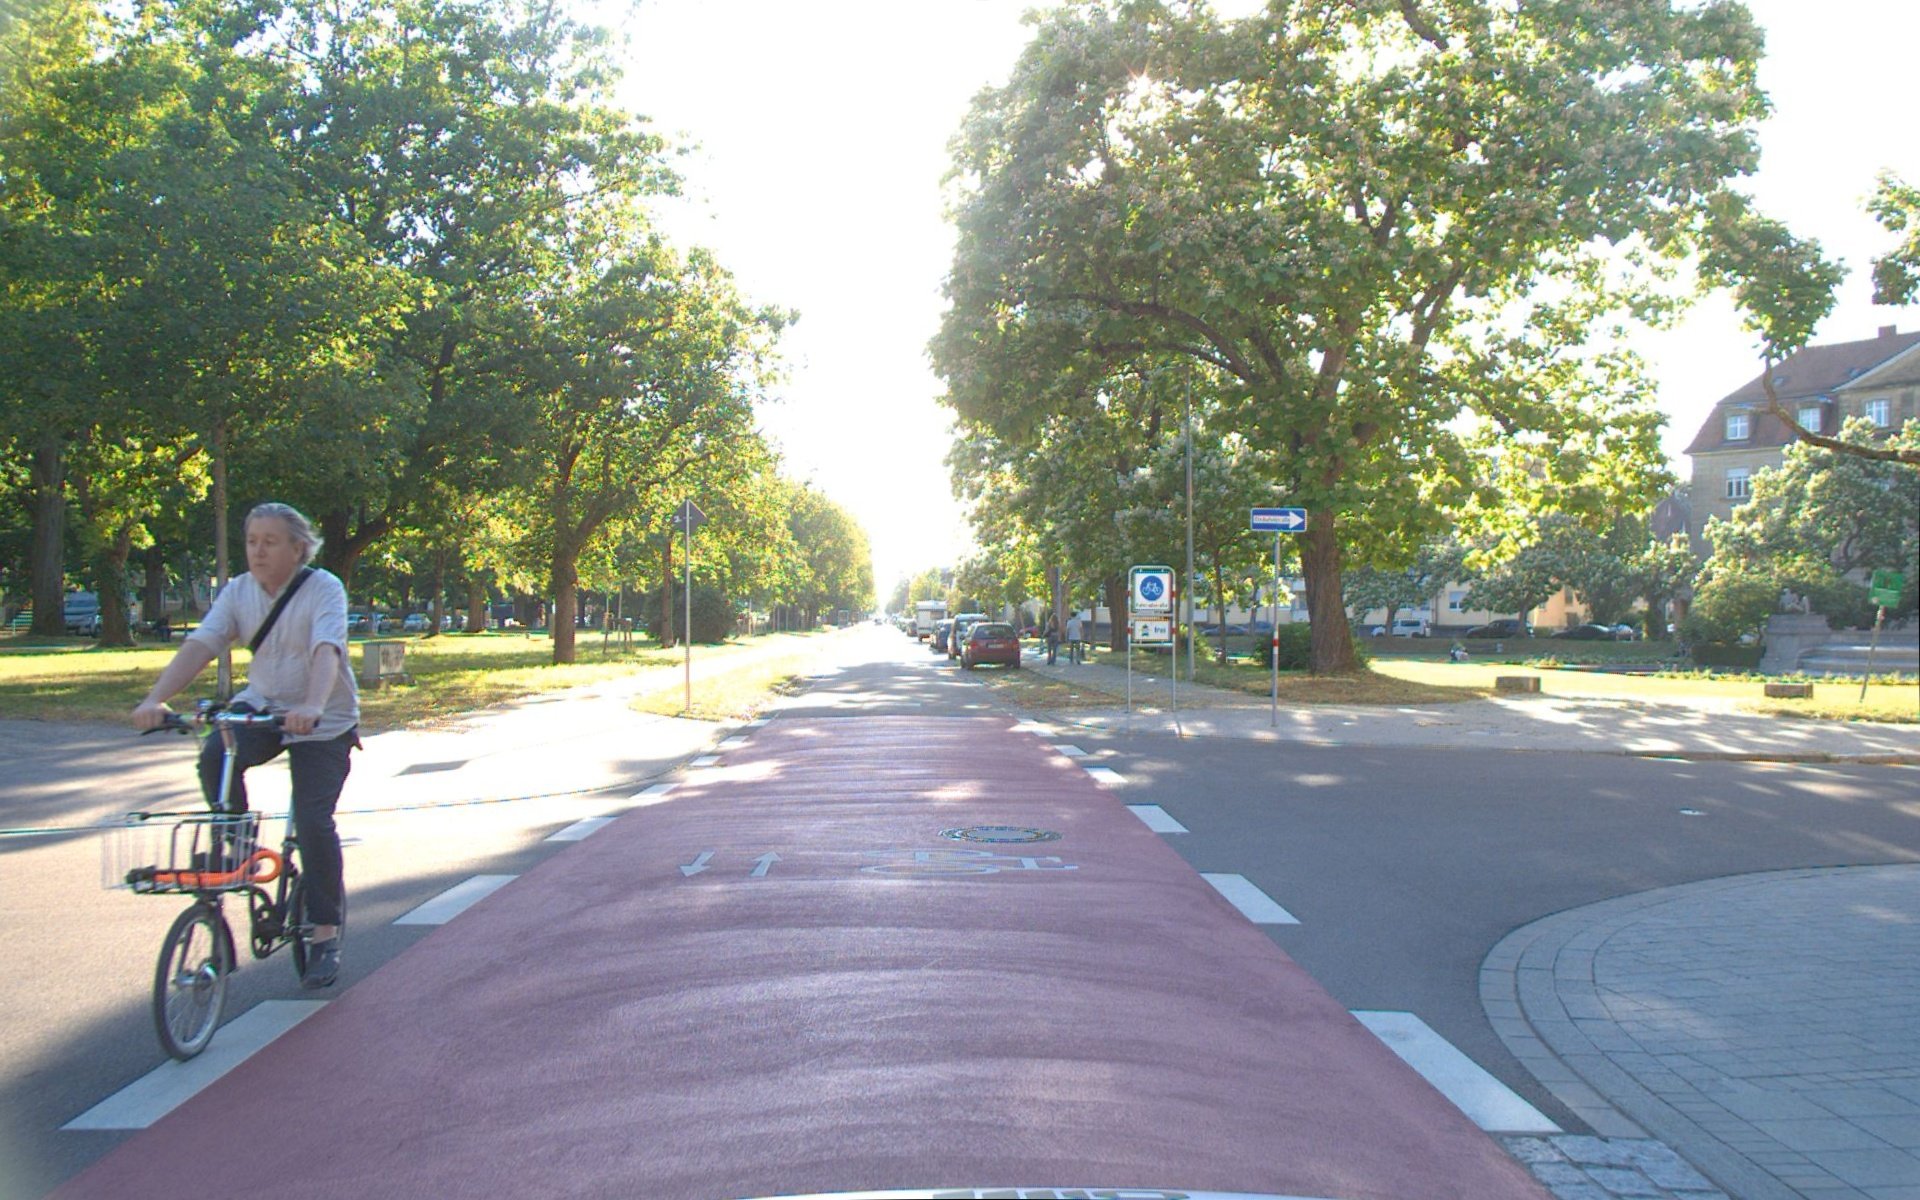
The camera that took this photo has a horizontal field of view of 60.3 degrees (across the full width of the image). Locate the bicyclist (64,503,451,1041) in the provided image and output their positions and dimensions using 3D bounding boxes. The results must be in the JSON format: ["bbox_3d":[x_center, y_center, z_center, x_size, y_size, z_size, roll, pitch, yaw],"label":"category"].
[{"bbox_3d":[-2.429,0.561,5.841,0.917,1.732,0.906,1,-1,4],"label":"bicyclist"}]

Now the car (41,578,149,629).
[{"bbox_3d":[-45.188,0.231,86.645,2.667,2.507,6.312,0,-1,-4],"label":"car"}]

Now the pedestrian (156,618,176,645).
[{"bbox_3d":[-30.256,1.206,63.020,0.538,1.004,0.609,0,-1,-9],"label":"pedestrian"}]

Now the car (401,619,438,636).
[{"bbox_3d":[-47.503,2.428,145.418,1.953,1.534,4.113,0,-1,-2],"label":"car"}]

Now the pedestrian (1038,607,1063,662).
[{"bbox_3d":[2.948,1.127,53.883,0.738,1.766,0.731,1,-1,-2],"label":"pedestrian"}]

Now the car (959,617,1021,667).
[{"bbox_3d":[0.922,1.340,53.304,1.645,1.512,4.806,0,-1,-3],"label":"car"}]

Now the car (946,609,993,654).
[{"bbox_3d":[0.341,1.277,67.216,1.645,1.770,4.510,0,-1,-3],"label":"car"}]

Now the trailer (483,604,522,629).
[{"bbox_3d":[-49.506,1.809,179.114,2.410,2.533,7.046,0,-1,-2],"label":"trailer"}]

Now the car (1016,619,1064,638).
[{"bbox_3d":[6.892,2.454,142.442,4.108,1.557,2.000,0,-1,1],"label":"car"}]

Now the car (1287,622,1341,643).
[{"bbox_3d":[28.044,2.582,130.919,3.907,1.579,1.609,-1,-1,25],"label":"car"}]

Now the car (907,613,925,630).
[{"bbox_3d":[-4.318,2.111,161.315,1.594,1.698,4.246,0,-1,-3],"label":"car"}]

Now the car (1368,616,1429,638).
[{"bbox_3d":[35.454,2.205,133.673,4.430,1.777,1.875,-1,-2,32],"label":"car"}]

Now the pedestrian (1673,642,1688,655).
[{"bbox_3d":[44.394,2.987,101.950,0.575,0.808,0.665,0,-1,-14],"label":"pedestrian"}]

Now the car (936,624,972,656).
[{"bbox_3d":[-0.316,2.001,82.600,1.697,1.578,4.273,0,-1,-2],"label":"car"}]

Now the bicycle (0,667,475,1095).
[{"bbox_3d":[-2.443,0.845,5.800,0.722,1.155,2.105,1,-1,4],"label":"bicycle"}]

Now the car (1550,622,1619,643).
[{"bbox_3d":[44.901,2.361,118.892,1.863,1.478,4.303,1,-2,-40],"label":"car"}]

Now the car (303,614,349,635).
[{"bbox_3d":[-47.125,1.866,123.021,1.953,1.534,3.998,0,-1,-2],"label":"car"}]

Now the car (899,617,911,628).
[{"bbox_3d":[-7.493,3.050,226.137,1.594,1.434,4.246,0,-1,-3],"label":"car"}]

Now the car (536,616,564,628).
[{"bbox_3d":[-51.979,2.763,209.591,2.457,1.534,4.910,0,-1,-2],"label":"car"}]

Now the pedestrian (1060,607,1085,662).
[{"bbox_3d":[3.658,1.127,53.923,0.710,1.766,0.731,1,-1,-2],"label":"pedestrian"}]

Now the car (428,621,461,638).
[{"bbox_3d":[-47.868,2.720,153.637,1.953,1.534,4.113,0,-1,-2],"label":"car"}]

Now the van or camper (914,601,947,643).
[{"bbox_3d":[-2.169,1.620,120.184,2.189,2.955,5.668,0,-2,-3],"label":"van or camper"}]

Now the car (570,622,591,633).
[{"bbox_3d":[-51.162,3.694,223.136,1.953,1.534,4.113,0,-1,-2],"label":"car"}]

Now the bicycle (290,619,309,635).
[{"bbox_3d":[-48.598,2.004,121.631,0.644,1.196,2.331,0,-1,-5],"label":"bicycle"}]
